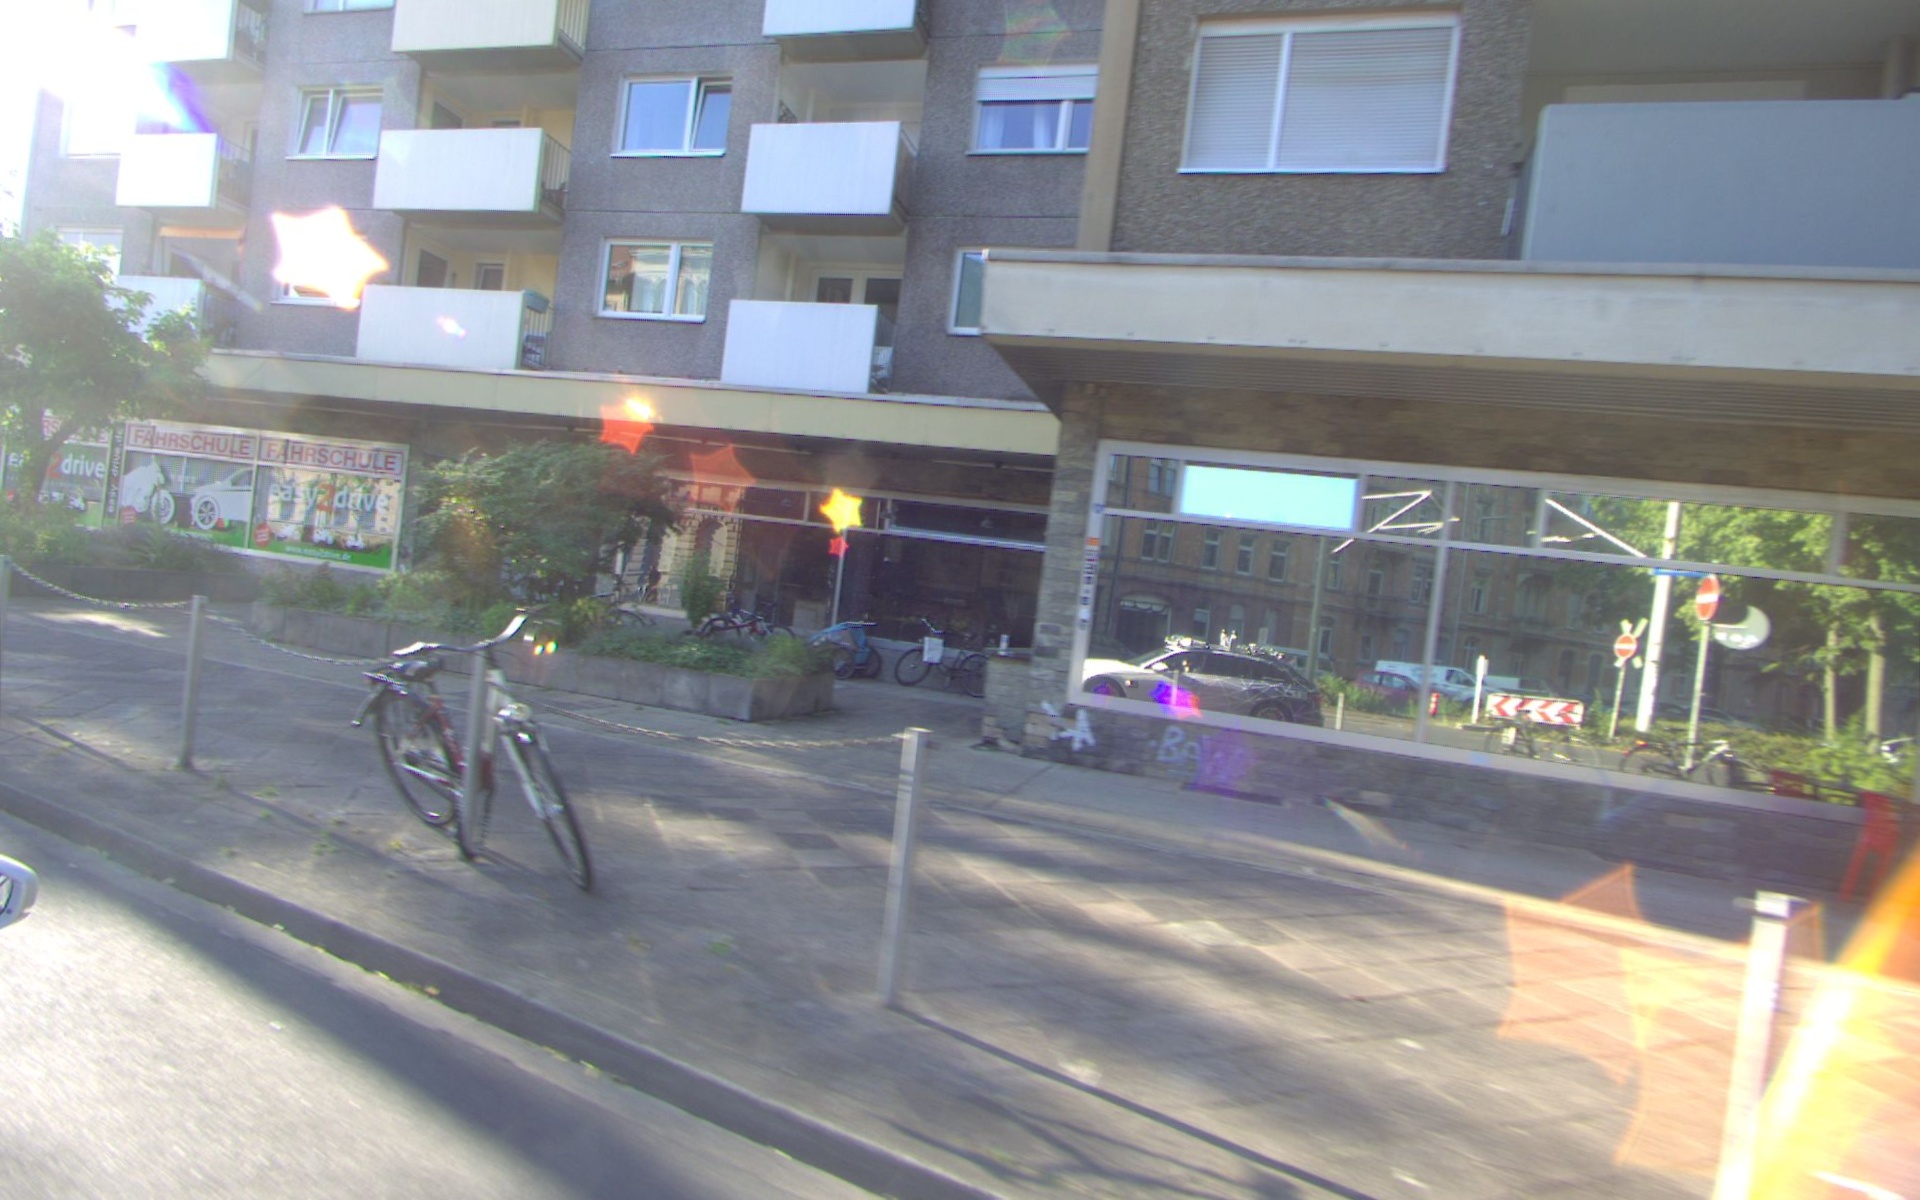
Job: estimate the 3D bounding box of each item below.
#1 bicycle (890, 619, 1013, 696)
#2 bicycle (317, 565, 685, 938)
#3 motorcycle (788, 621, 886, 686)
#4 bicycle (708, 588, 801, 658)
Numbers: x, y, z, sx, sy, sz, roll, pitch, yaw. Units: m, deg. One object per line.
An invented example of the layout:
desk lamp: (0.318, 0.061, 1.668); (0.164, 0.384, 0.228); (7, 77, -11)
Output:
bicycle: (-0.121, 0.836, 14.941); (1.620, 0.910, 0.644); (7, 1, 16)
bicycle: (-2.181, 0.558, 4.603); (2.058, 1.241, 0.637); (7, 1, 41)
motorcycle: (-1.859, 0.794, 15.191); (1.341, 0.805, 0.433); (7, 1, 16)
bicycle: (-3.274, 0.364, 16.013); (1.299, 0.954, 0.433); (7, 1, 16)
